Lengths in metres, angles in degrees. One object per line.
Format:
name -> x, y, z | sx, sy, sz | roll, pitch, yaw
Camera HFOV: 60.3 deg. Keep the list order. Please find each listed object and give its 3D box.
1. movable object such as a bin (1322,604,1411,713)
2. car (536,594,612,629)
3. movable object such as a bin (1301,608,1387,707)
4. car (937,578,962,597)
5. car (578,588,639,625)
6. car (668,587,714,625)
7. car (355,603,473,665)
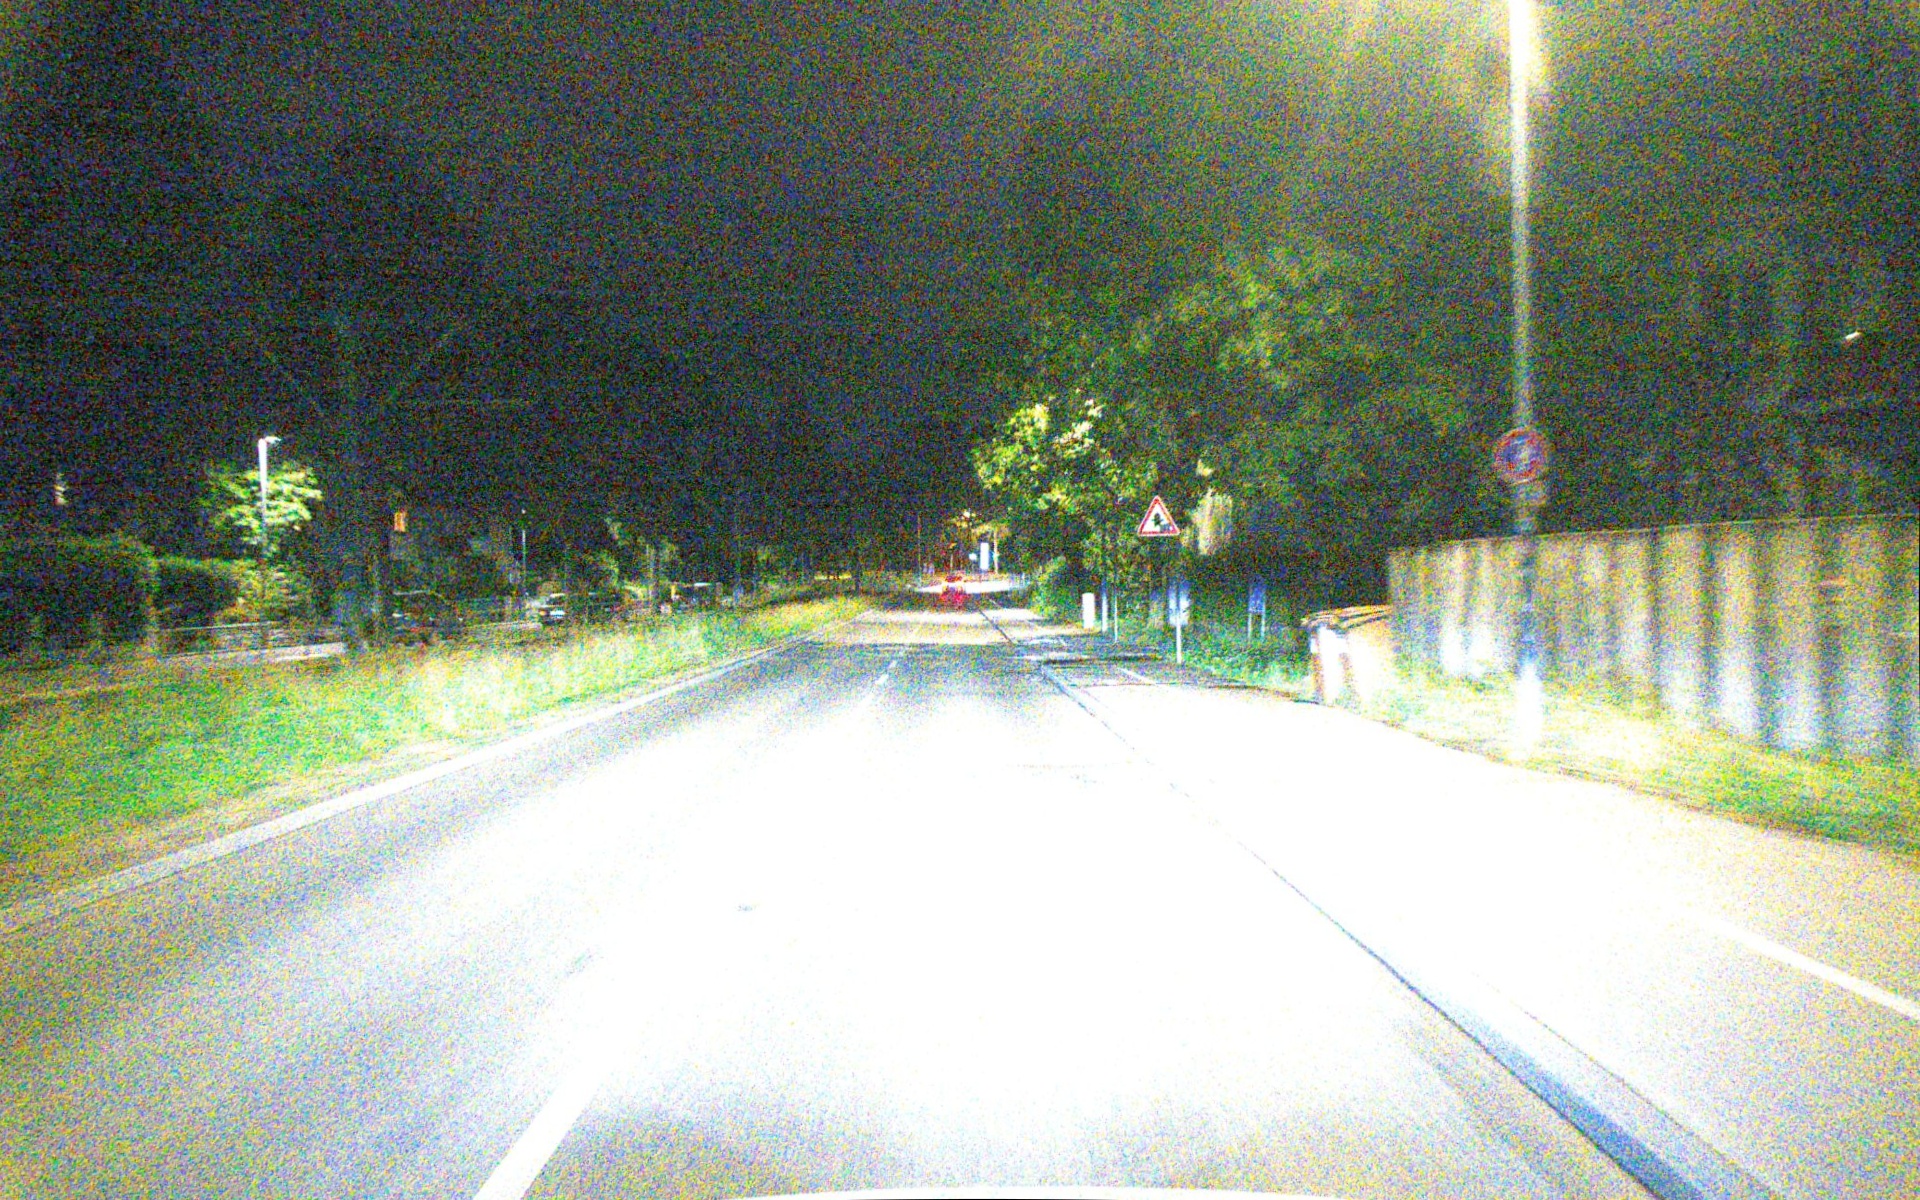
movable object such as a bin -> 4.619, 0.658, 18.840 | 0.816, 1.202, 0.828 | -1, 0, 2
car -> -15.846, 0.458, 68.158 | 1.953, 1.361, 5.430 | -1, 0, -1
movable object such as a bin -> 4.565, 0.672, 19.715 | 0.839, 1.139, 0.840 | -1, 0, 2
car -> -0.870, -1.056, 142.552 | 2.117, 1.610, 4.013 | 0, 0, 0
car -> -15.677, 0.259, 73.906 | 1.953, 1.556, 3.999 | -1, 0, -1
car -> -16.004, 0.325, 98.667 | 2.050, 2.048, 3.999 | -5, 1, -1
car -> -15.775, 0.946, 48.029 | 1.953, 1.656, 4.676 | -1, 0, -1
